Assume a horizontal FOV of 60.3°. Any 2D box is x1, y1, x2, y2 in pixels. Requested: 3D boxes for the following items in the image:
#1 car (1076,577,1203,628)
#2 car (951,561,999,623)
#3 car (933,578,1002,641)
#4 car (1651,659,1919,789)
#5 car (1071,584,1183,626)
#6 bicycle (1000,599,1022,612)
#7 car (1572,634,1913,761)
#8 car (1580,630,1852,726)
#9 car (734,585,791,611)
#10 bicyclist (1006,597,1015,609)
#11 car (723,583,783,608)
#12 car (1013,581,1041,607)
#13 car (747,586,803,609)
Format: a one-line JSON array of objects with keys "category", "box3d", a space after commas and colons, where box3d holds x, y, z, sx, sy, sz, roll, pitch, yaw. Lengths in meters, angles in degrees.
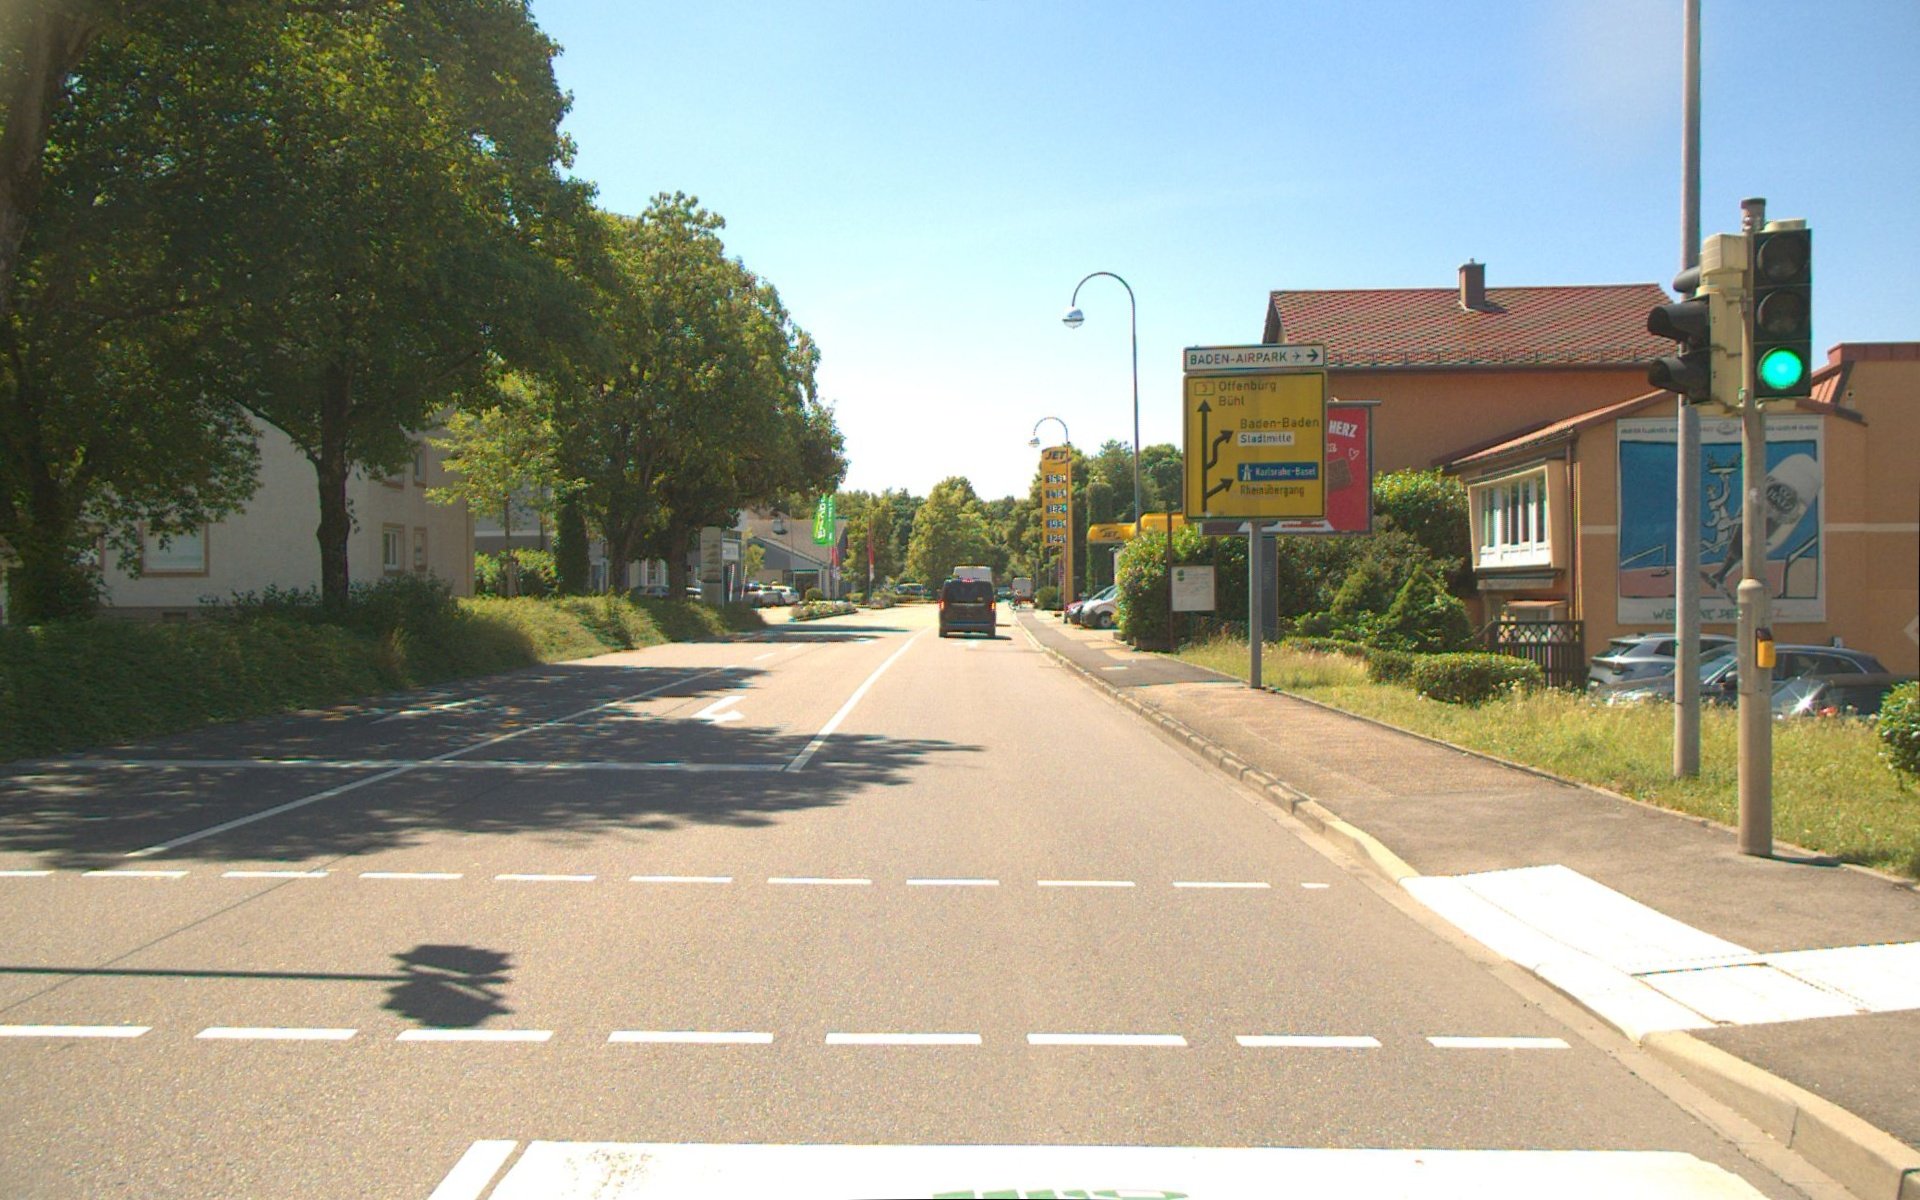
[{"category": "car", "box3d": [6.741, 0.068, 62.356, 4.467, 1.747, 1.998, -2, 1, -4]}, {"category": "car", "box3d": [0.670, -0.399, 75.693, 2.076, 2.724, 5.662, 1, 1, 0]}, {"category": "car", "box3d": [0.203, 0.265, 54.184, 1.954, 1.926, 3.997, 1, 1, -4]}, {"category": "car", "box3d": [10.974, 1.564, 21.199, 3.545, 1.441, 1.699, 1, 1, 5]}, {"category": "car", "box3d": [6.486, 0.189, 64.471, 4.075, 1.482, 1.905, -2, 1, -5]}, {"category": "bicycle", "box3d": [3.850, 0.402, 125.958, 1.701, 0.902, 0.551, -2, 3, -35]}, {"category": "car", "box3d": [11.613, 1.420, 24.764, 4.183, 1.675, 1.890, 1, 1, 1]}, {"category": "car", "box3d": [13.779, 1.395, 30.351, 4.169, 1.627, 1.891, 0, 1, 7]}, {"category": "car", "box3d": [-15.119, -0.172, 126.693, 3.902, 1.864, 1.948, 1, 1, 12]}, {"category": "bicyclist", "box3d": [3.823, 0.255, 125.938, 0.464, 0.868, 0.551, -2, 3, -35]}, {"category": "car", "box3d": [-15.317, -0.363, 122.259, 3.956, 1.735, 1.904, 1, 1, 17]}, {"category": "car", "box3d": [6.969, -0.632, 172.031, 2.302, 2.591, 4.960, 1, 1, 9]}, {"category": "car", "box3d": [-14.543, -0.221, 130.136, 3.902, 1.691, 2.002, 1, 1, 10]}]
